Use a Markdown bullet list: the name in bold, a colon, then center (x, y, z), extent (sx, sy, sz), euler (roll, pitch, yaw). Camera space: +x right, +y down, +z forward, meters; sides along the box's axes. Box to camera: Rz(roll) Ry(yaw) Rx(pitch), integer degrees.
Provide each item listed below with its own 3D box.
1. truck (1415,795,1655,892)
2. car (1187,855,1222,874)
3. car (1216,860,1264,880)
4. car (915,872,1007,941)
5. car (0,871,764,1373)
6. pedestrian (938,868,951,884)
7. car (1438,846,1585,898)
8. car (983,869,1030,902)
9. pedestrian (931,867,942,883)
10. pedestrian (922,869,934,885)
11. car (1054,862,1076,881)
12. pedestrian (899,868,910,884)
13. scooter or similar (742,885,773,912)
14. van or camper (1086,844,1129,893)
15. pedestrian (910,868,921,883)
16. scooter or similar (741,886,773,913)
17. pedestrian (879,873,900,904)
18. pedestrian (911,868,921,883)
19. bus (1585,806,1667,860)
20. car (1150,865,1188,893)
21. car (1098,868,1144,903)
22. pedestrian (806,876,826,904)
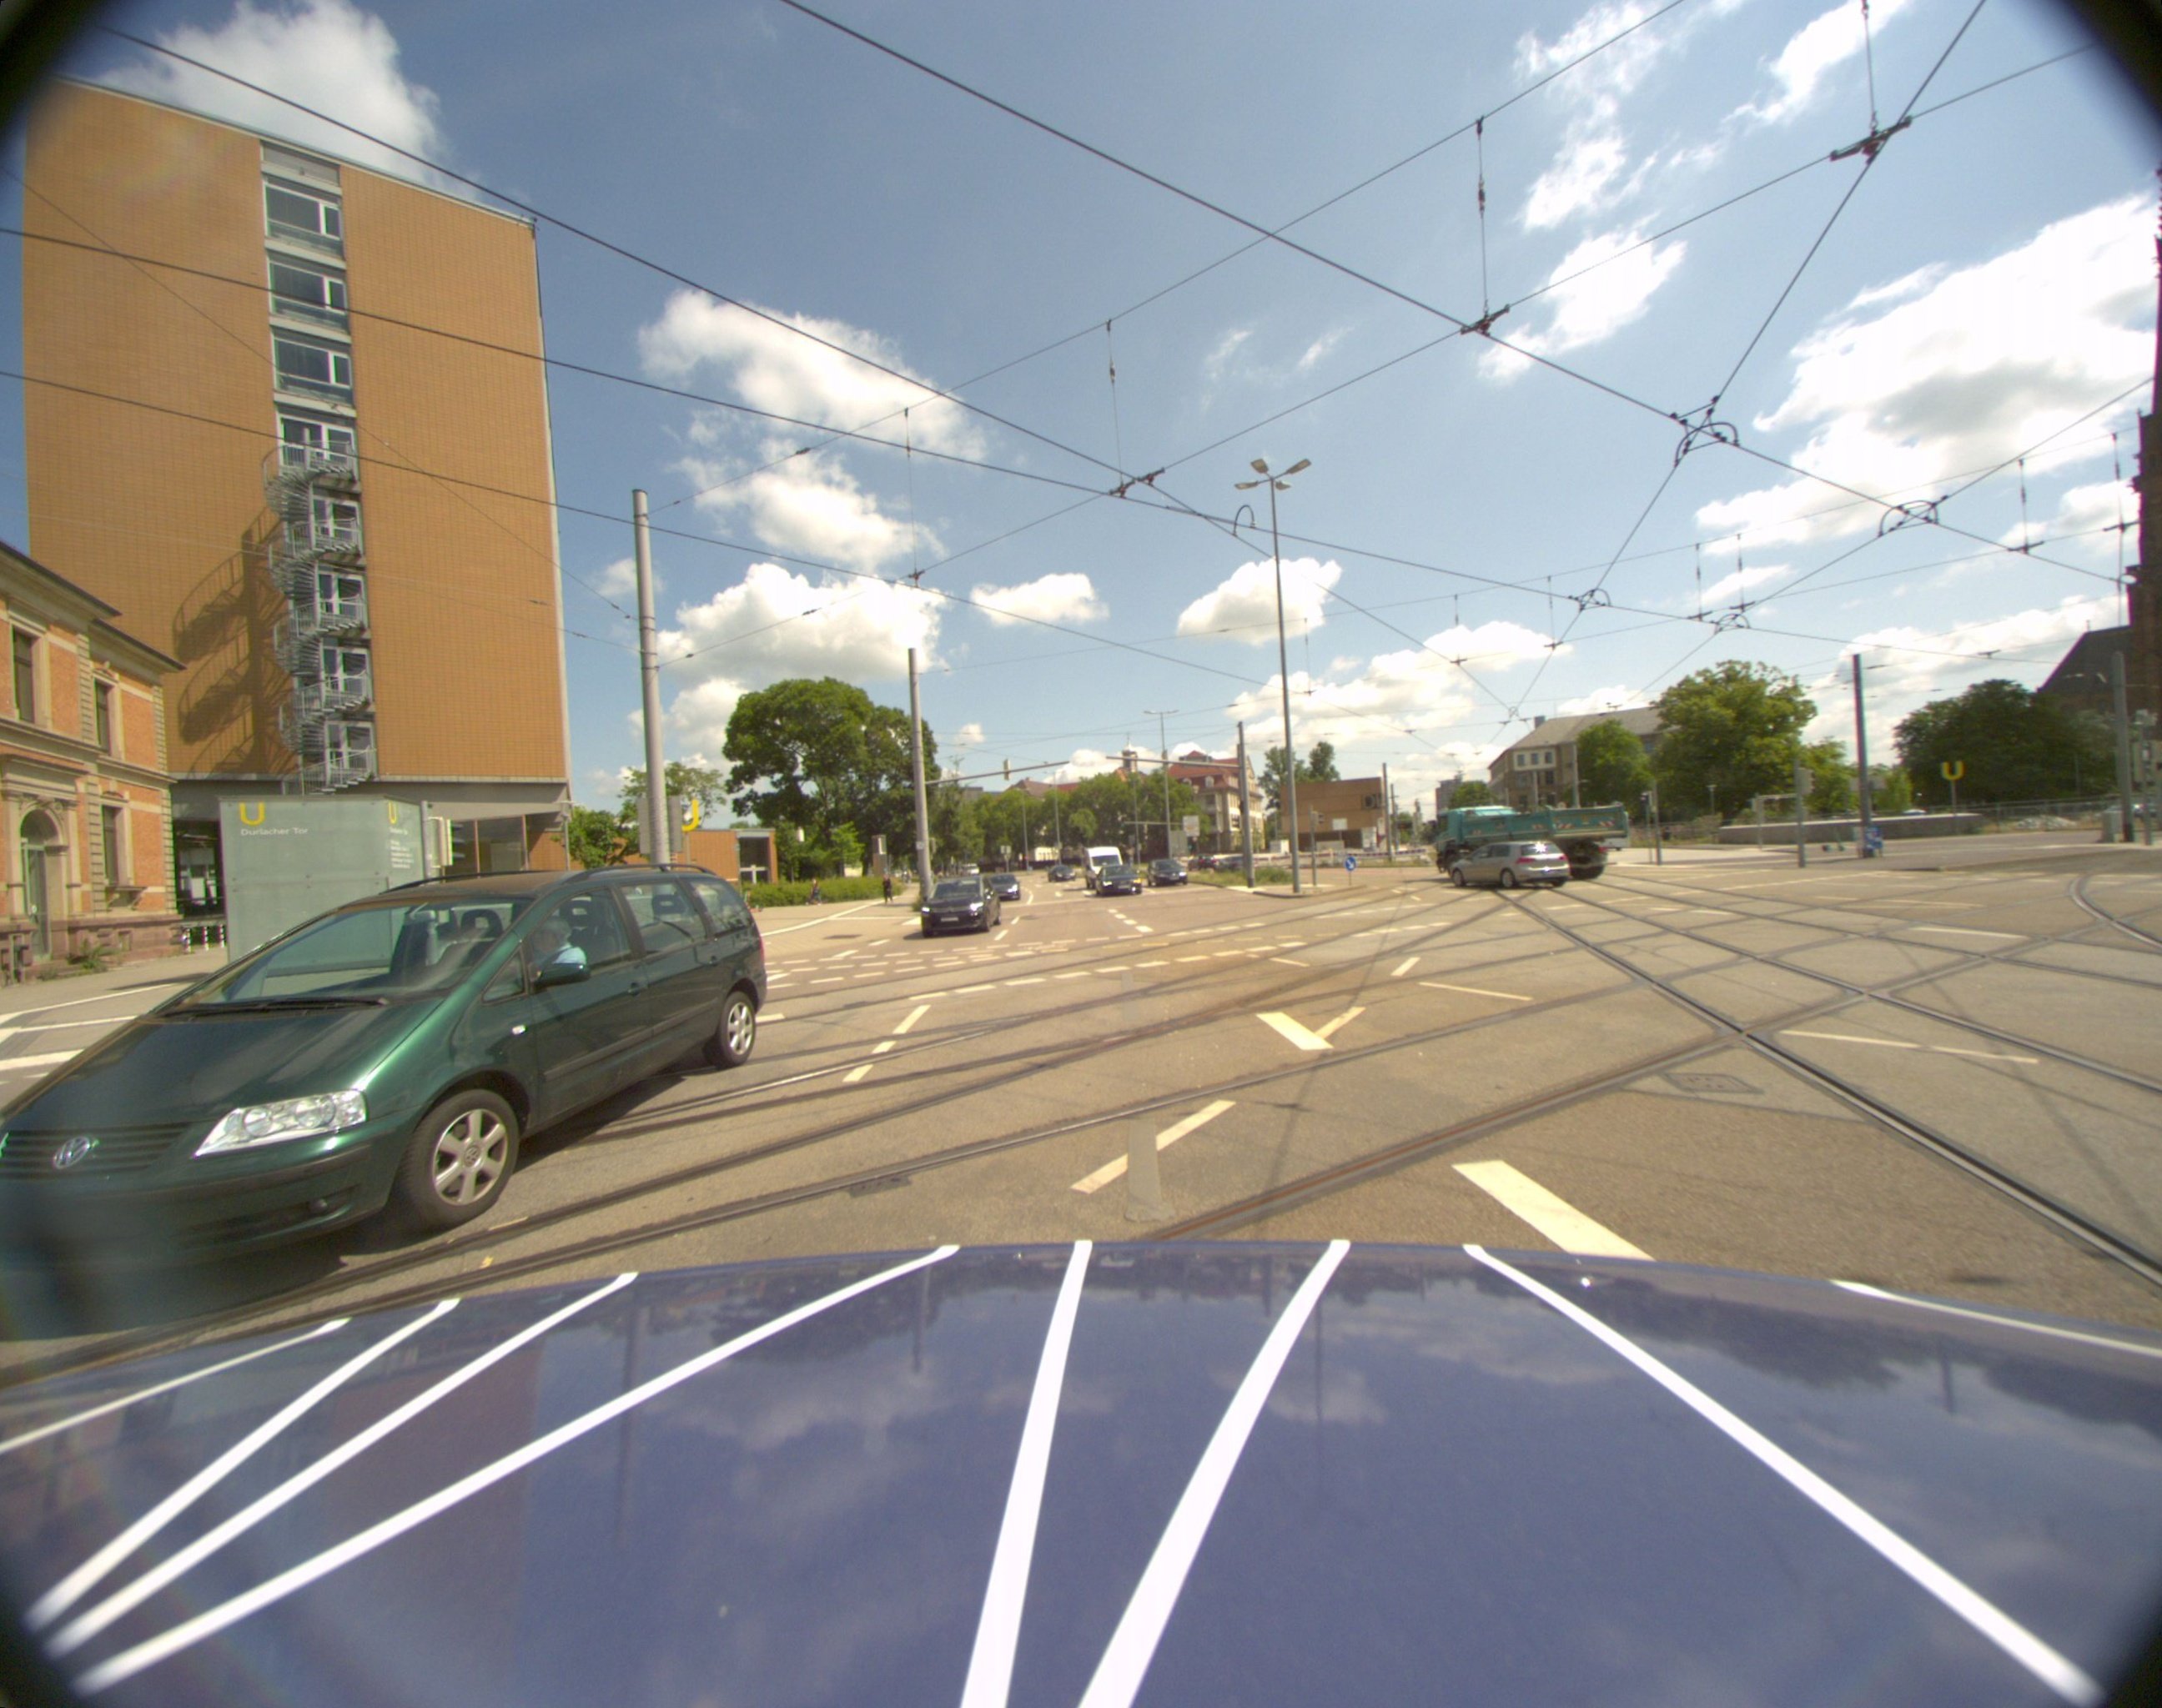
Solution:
- **truck**: center (16.555, -0.286, 28.837), extent (3.355, 2.980, 8.732), euler (-3, -1, -3)
- **car**: center (11.937, 1.010, 73.677), extent (2.000, 1.674, 3.997), euler (-3, 0, -10)
- **car**: center (10.648, 1.076, 51.135), extent (1.826, 1.224, 3.937), euler (-3, -1, -9)
- **car**: center (-3.372, 1.429, 22.165), extent (1.873, 1.607, 4.426), euler (-2, 0, 1)
- **car**: center (-3.880, 1.080, 4.887), extent (1.819, 1.707, 4.085), euler (-5, 0, 0)
- **pedestrian**: center (-14.577, 2.356, 81.147), extent (1.152, 1.679, 1.310), euler (-3, 0, -12)
- **car**: center (13.520, 0.554, 24.202), extent (1.854, 1.406, 4.338), euler (-2, -1, -6)
- **car**: center (-3.971, 1.666, 41.299), extent (1.872, 1.477, 4.427), euler (-4, 0, 2)
- **pedestrian**: center (-16.095, 2.372, 84.603), extent (1.152, 1.679, 1.310), euler (-3, 0, -12)
- **pedestrian**: center (-16.134, 2.428, 79.979), extent (1.152, 1.679, 1.310), euler (-3, 0, -12)
- **car**: center (-1.372, 1.511, 66.249), extent (1.781, 1.565, 3.961), euler (-3, 0, -2)
- **pedestrian**: center (-20.151, 2.504, 86.738), extent (1.152, 1.679, 1.310), euler (-3, 0, -12)
- **scooter or similar**: center (-16.016, 2.199, 37.657), extent (1.318, 1.216, 0.607), euler (-3, 0, -20)
- **van or camper**: center (1.541, 0.888, 46.624), extent (2.231, 2.719, 5.521), euler (-3, 0, -1)
- **pedestrian**: center (-19.018, 2.456, 87.275), extent (1.152, 1.679, 1.310), euler (-3, 0, -12)
- **scooter or similar**: center (-15.723, 2.197, 36.895), extent (1.318, 1.216, 0.607), euler (-3, 0, -20)
- **pedestrian**: center (-10.366, 1.867, 41.108), extent (0.830, 1.576, 0.768), euler (-3, 0, 1)
- **pedestrian**: center (-19.639, 2.587, 90.540), extent (1.064, 1.766, 0.986), euler (-3, 0, -14)
- **bus**: center (38.413, -1.454, 53.894), extent (2.945, 3.427, 7.959), euler (-3, 0, 23)
- **car**: center (4.829, 1.337, 42.081), extent (1.671, 1.368, 3.916), euler (-3, -1, 1)
- **car**: center (1.869, 1.450, 36.617), extent (1.900, 1.455, 4.261), euler (-3, -1, -1)
- **pedestrian**: center (-15.649, 2.128, 44.928), extent (0.830, 1.616, 0.768), euler (-3, 0, 1)
